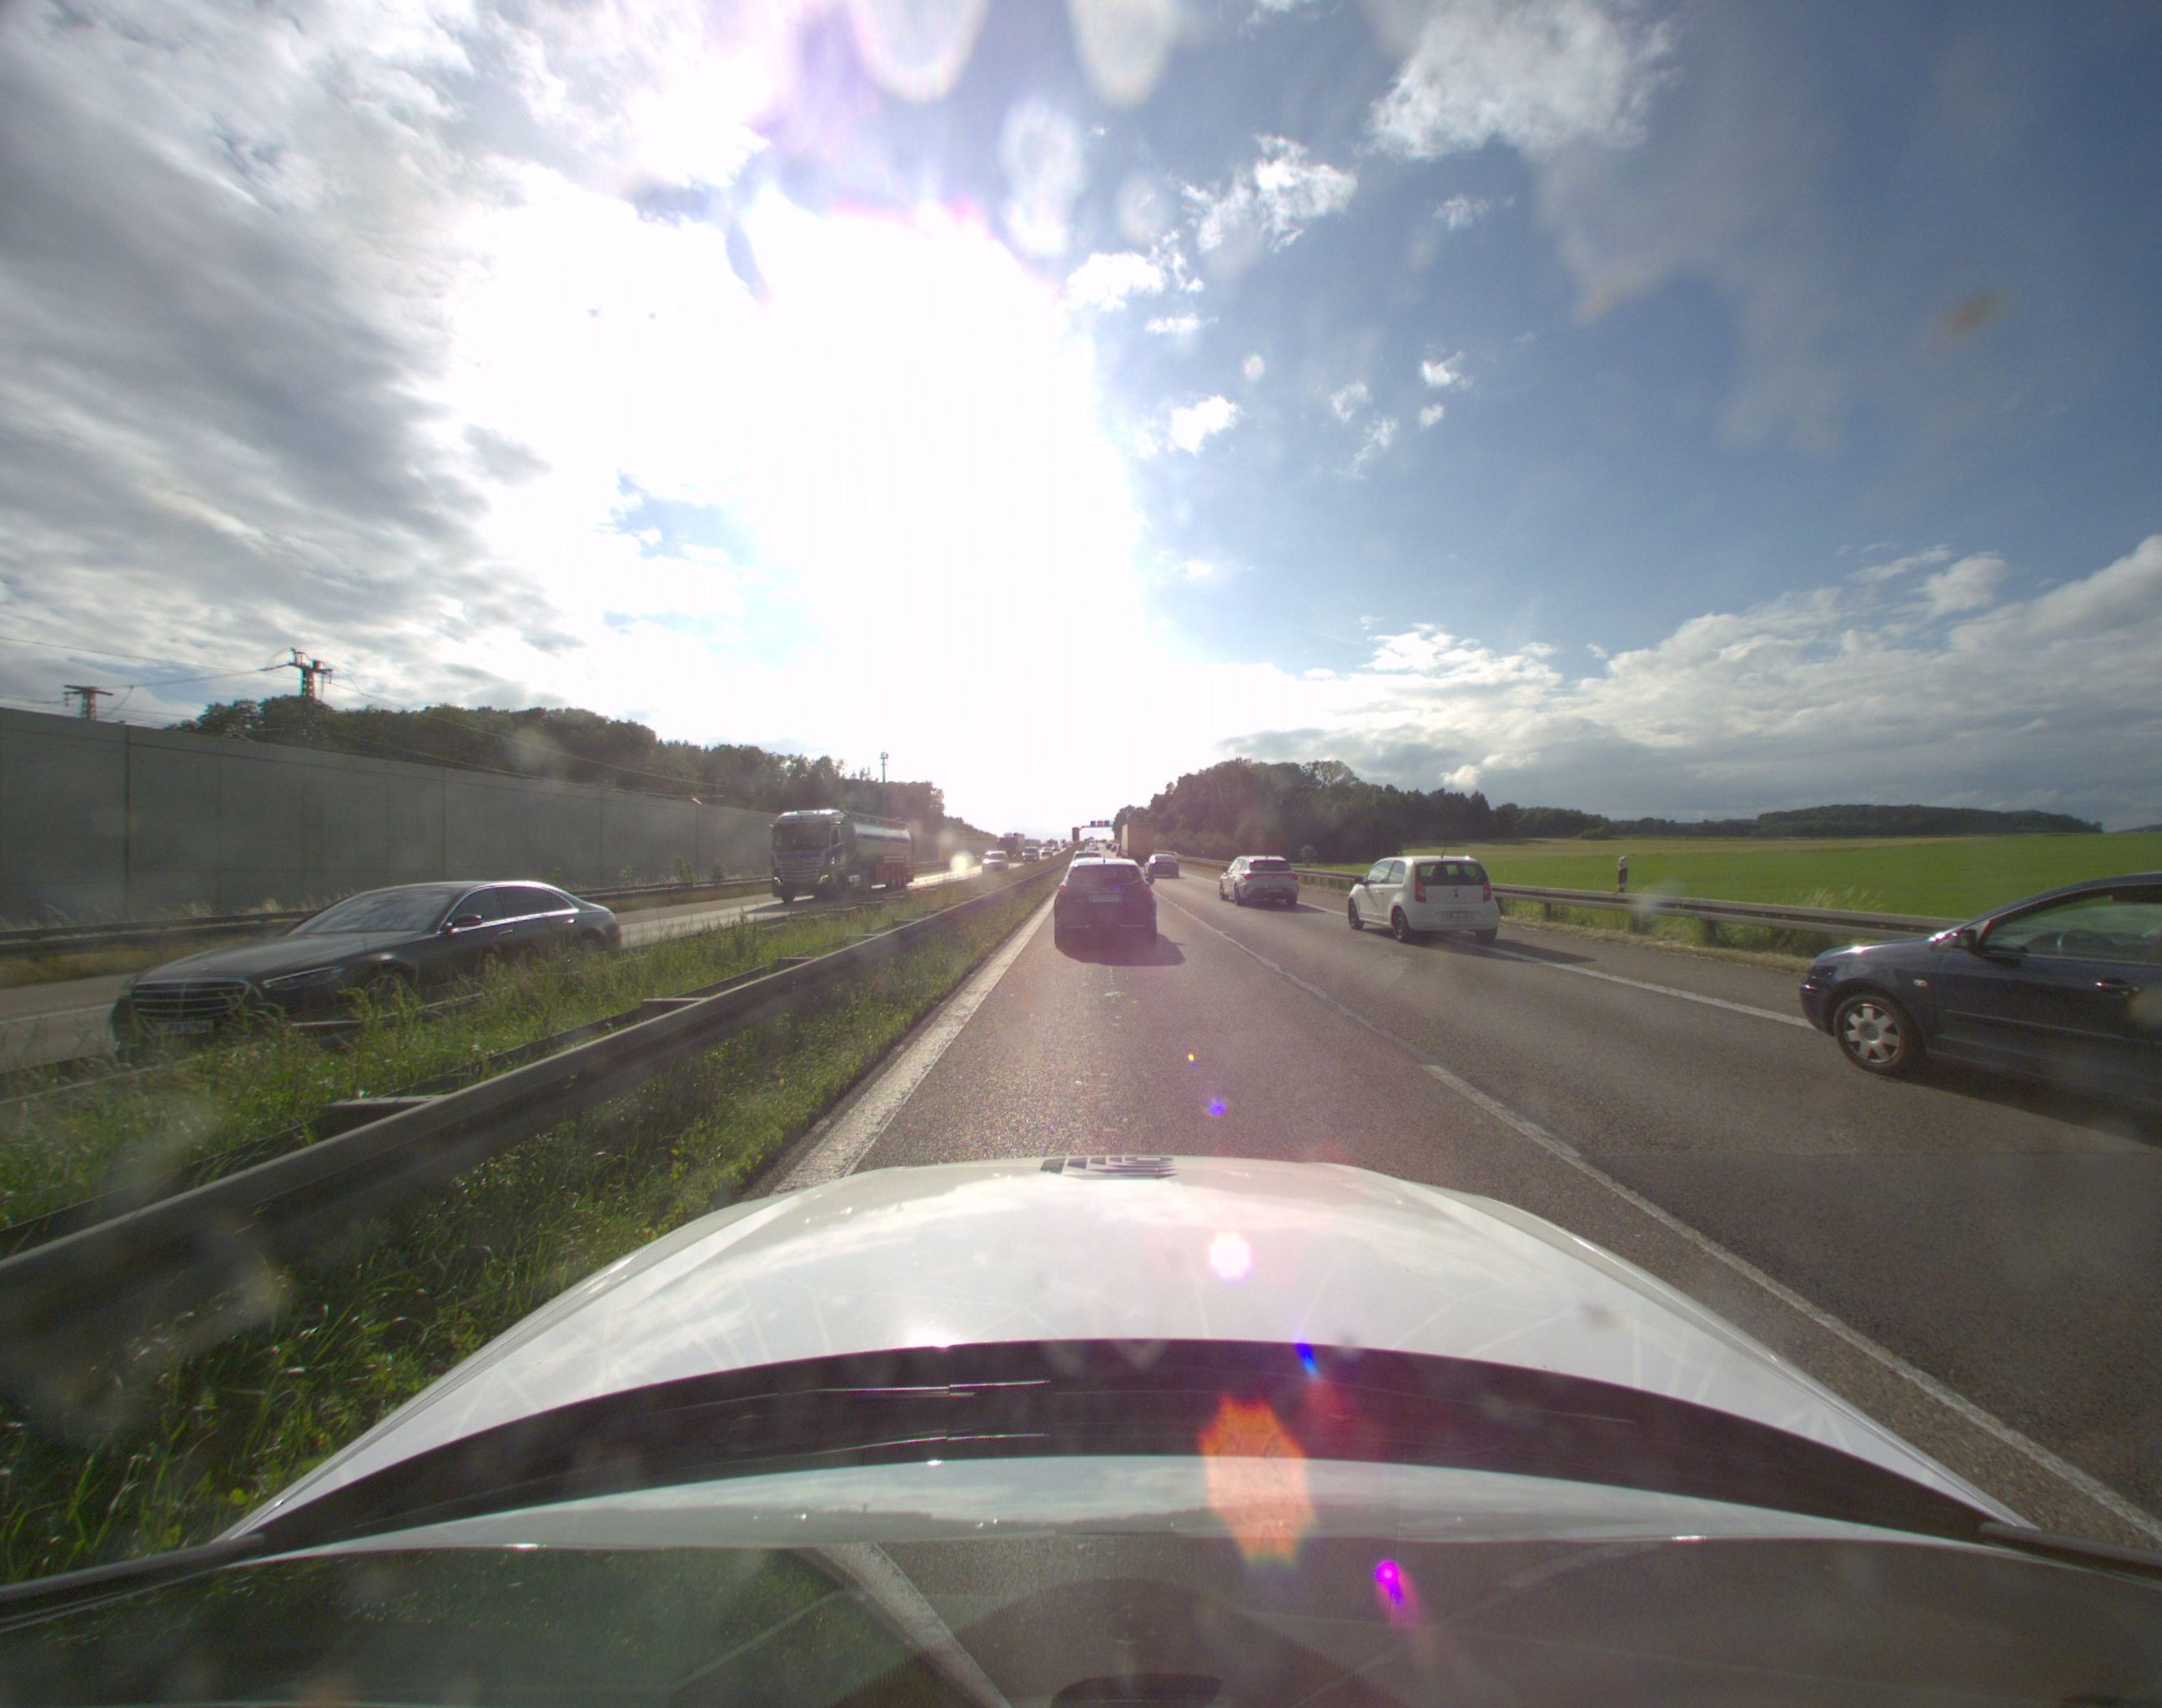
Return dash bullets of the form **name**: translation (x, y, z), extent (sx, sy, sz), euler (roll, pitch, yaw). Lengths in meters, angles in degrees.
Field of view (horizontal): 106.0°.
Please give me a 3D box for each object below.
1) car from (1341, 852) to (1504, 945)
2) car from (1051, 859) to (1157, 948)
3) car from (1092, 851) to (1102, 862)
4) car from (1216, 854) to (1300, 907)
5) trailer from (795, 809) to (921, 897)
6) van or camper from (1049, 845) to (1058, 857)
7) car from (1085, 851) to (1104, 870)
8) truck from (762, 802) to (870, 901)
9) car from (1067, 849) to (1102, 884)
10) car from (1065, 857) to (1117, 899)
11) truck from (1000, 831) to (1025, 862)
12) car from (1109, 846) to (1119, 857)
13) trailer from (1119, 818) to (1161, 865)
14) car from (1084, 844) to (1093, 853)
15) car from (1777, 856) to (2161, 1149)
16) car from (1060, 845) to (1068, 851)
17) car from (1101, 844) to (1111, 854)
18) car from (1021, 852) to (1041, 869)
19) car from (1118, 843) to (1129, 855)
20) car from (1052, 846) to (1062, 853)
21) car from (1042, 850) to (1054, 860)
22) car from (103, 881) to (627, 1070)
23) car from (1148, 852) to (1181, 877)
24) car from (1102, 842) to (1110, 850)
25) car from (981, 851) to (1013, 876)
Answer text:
- **car**: translation (6.107, 0.713, 14.955), extent (1.544, 1.495, 3.377), euler (-1, 0, -1)
- **car**: translation (0.447, 0.824, 14.884), extent (1.703, 1.426, 3.380), euler (-1, -1, 2)
- **car**: translation (2.701, 0.392, 138.035), extent (1.660, 1.755, 3.329), euler (0, -1, 2)
- **car**: translation (5.254, 0.749, 24.660), extent (1.616, 1.445, 4.145), euler (-1, -1, -1)
- **trailer**: translation (-10.945, 0.014, 41.810), extent (2.531, 3.771, 12.545), euler (-3, -1, 2)
- **van or camper**: translation (-7.861, -0.839, 233.226), extent (2.218, 3.079, 6.512), euler (0, -1, 0)
- **car**: translation (1.471, 0.710, 88.161), extent (1.987, 2.014, 3.999), euler (0, -1, 0)
- **truck**: translation (-11.160, -0.058, 34.839), extent (2.543, 3.798, 5.419), euler (-3, -1, 2)
- **car**: translation (0.234, 0.633, 41.667), extent (1.667, 1.726, 3.597), euler (-1, -1, 2)
- **car**: translation (0.380, 0.798, 28.313), extent (1.667, 1.367, 3.597), euler (-1, -1, 2)
- **truck**: translation (-9.516, -0.951, 113.477), extent (2.744, 4.090, 6.954), euler (-1, -1, 1)
- **car**: translation (6.480, -0.488, 160.242), extent (1.987, 2.014, 3.999), euler (0, -1, 0)
- **trailer**: translation (5.918, -1.144, 84.340), extent (3.537, 4.457, 12.721), euler (0, -1, 0)
- **car**: translation (1.800, -1.316, 198.941), extent (1.987, 2.014, 3.999), euler (0, -1, 0)
- **car**: translation (6.186, 0.731, 4.346), extent (1.705, 1.445, 3.773), euler (-1, -1, 0)
- **car**: translation (-4.538, -1.552, 222.143), extent (1.987, 1.433, 4.448), euler (0, -1, 0)
- **car**: translation (5.555, -1.100, 180.071), extent (1.987, 2.014, 3.999), euler (0, -1, 0)
- **car**: translation (-6.131, 0.836, 99.782), extent (1.986, 1.883, 4.788), euler (-3, -1, 1)
- **car**: translation (6.470, -0.698, 124.779), extent (1.660, 1.755, 3.329), euler (0, -1, 2)
- **car**: translation (-5.255, -1.025, 178.884), extent (1.896, 1.464, 4.183), euler (0, -1, 0)
- **car**: translation (-5.646, 0.183, 139.600), extent (1.881, 1.632, 5.111), euler (0, -1, 1)
- **car**: translation (-7.530, 1.136, 9.426), extent (1.796, 1.516, 4.692), euler (0, -1, 2)
- **car**: translation (5.032, 0.638, 49.656), extent (1.740, 1.475, 4.148), euler (-1, -1, 2)
- **car**: translation (6.717, -2.021, 215.972), extent (1.987, 2.014, 3.999), euler (0, -1, 0)
- **car**: translation (-6.506, 0.755, 63.485), extent (1.853, 1.834, 4.282), euler (0, -1, 1)
